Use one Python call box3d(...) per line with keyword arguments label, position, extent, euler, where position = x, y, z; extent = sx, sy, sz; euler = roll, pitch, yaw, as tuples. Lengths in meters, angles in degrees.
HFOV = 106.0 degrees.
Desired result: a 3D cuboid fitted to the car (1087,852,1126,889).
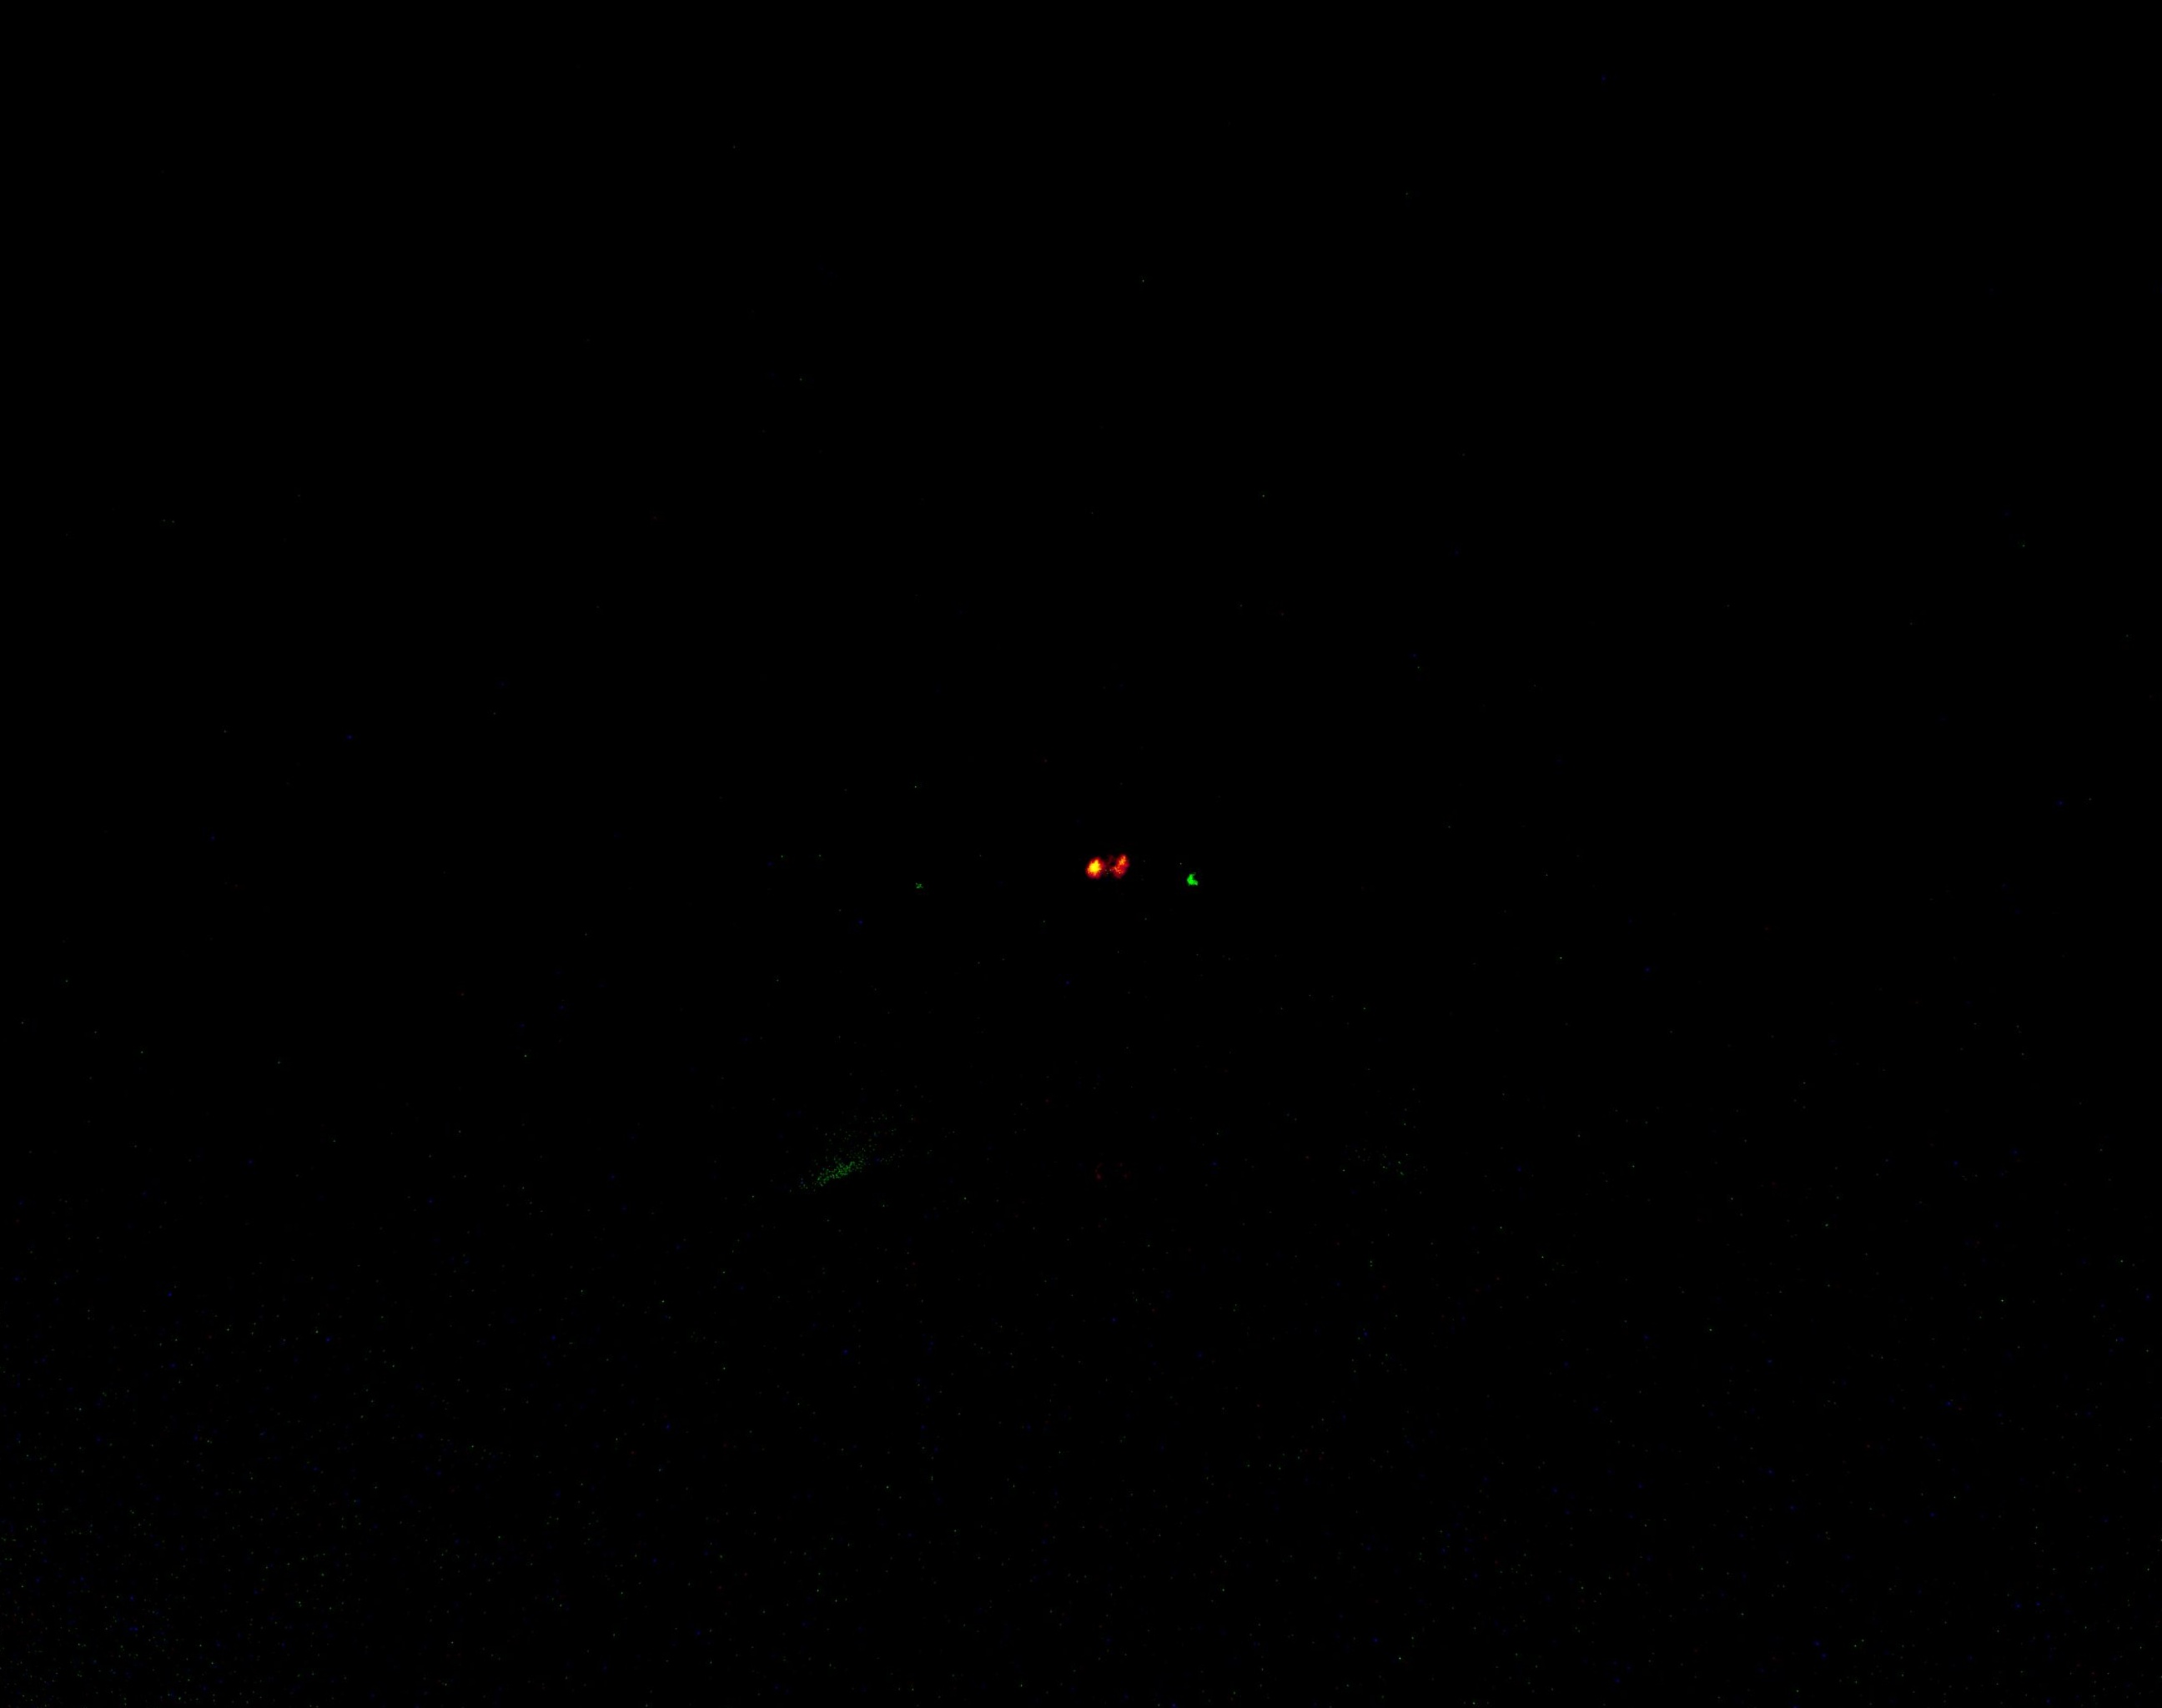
box3d(label="car", position=(1.332, 0.794, 41.489), extent=(1.835, 1.740, 4.002), euler=(-1, 0, 2))
